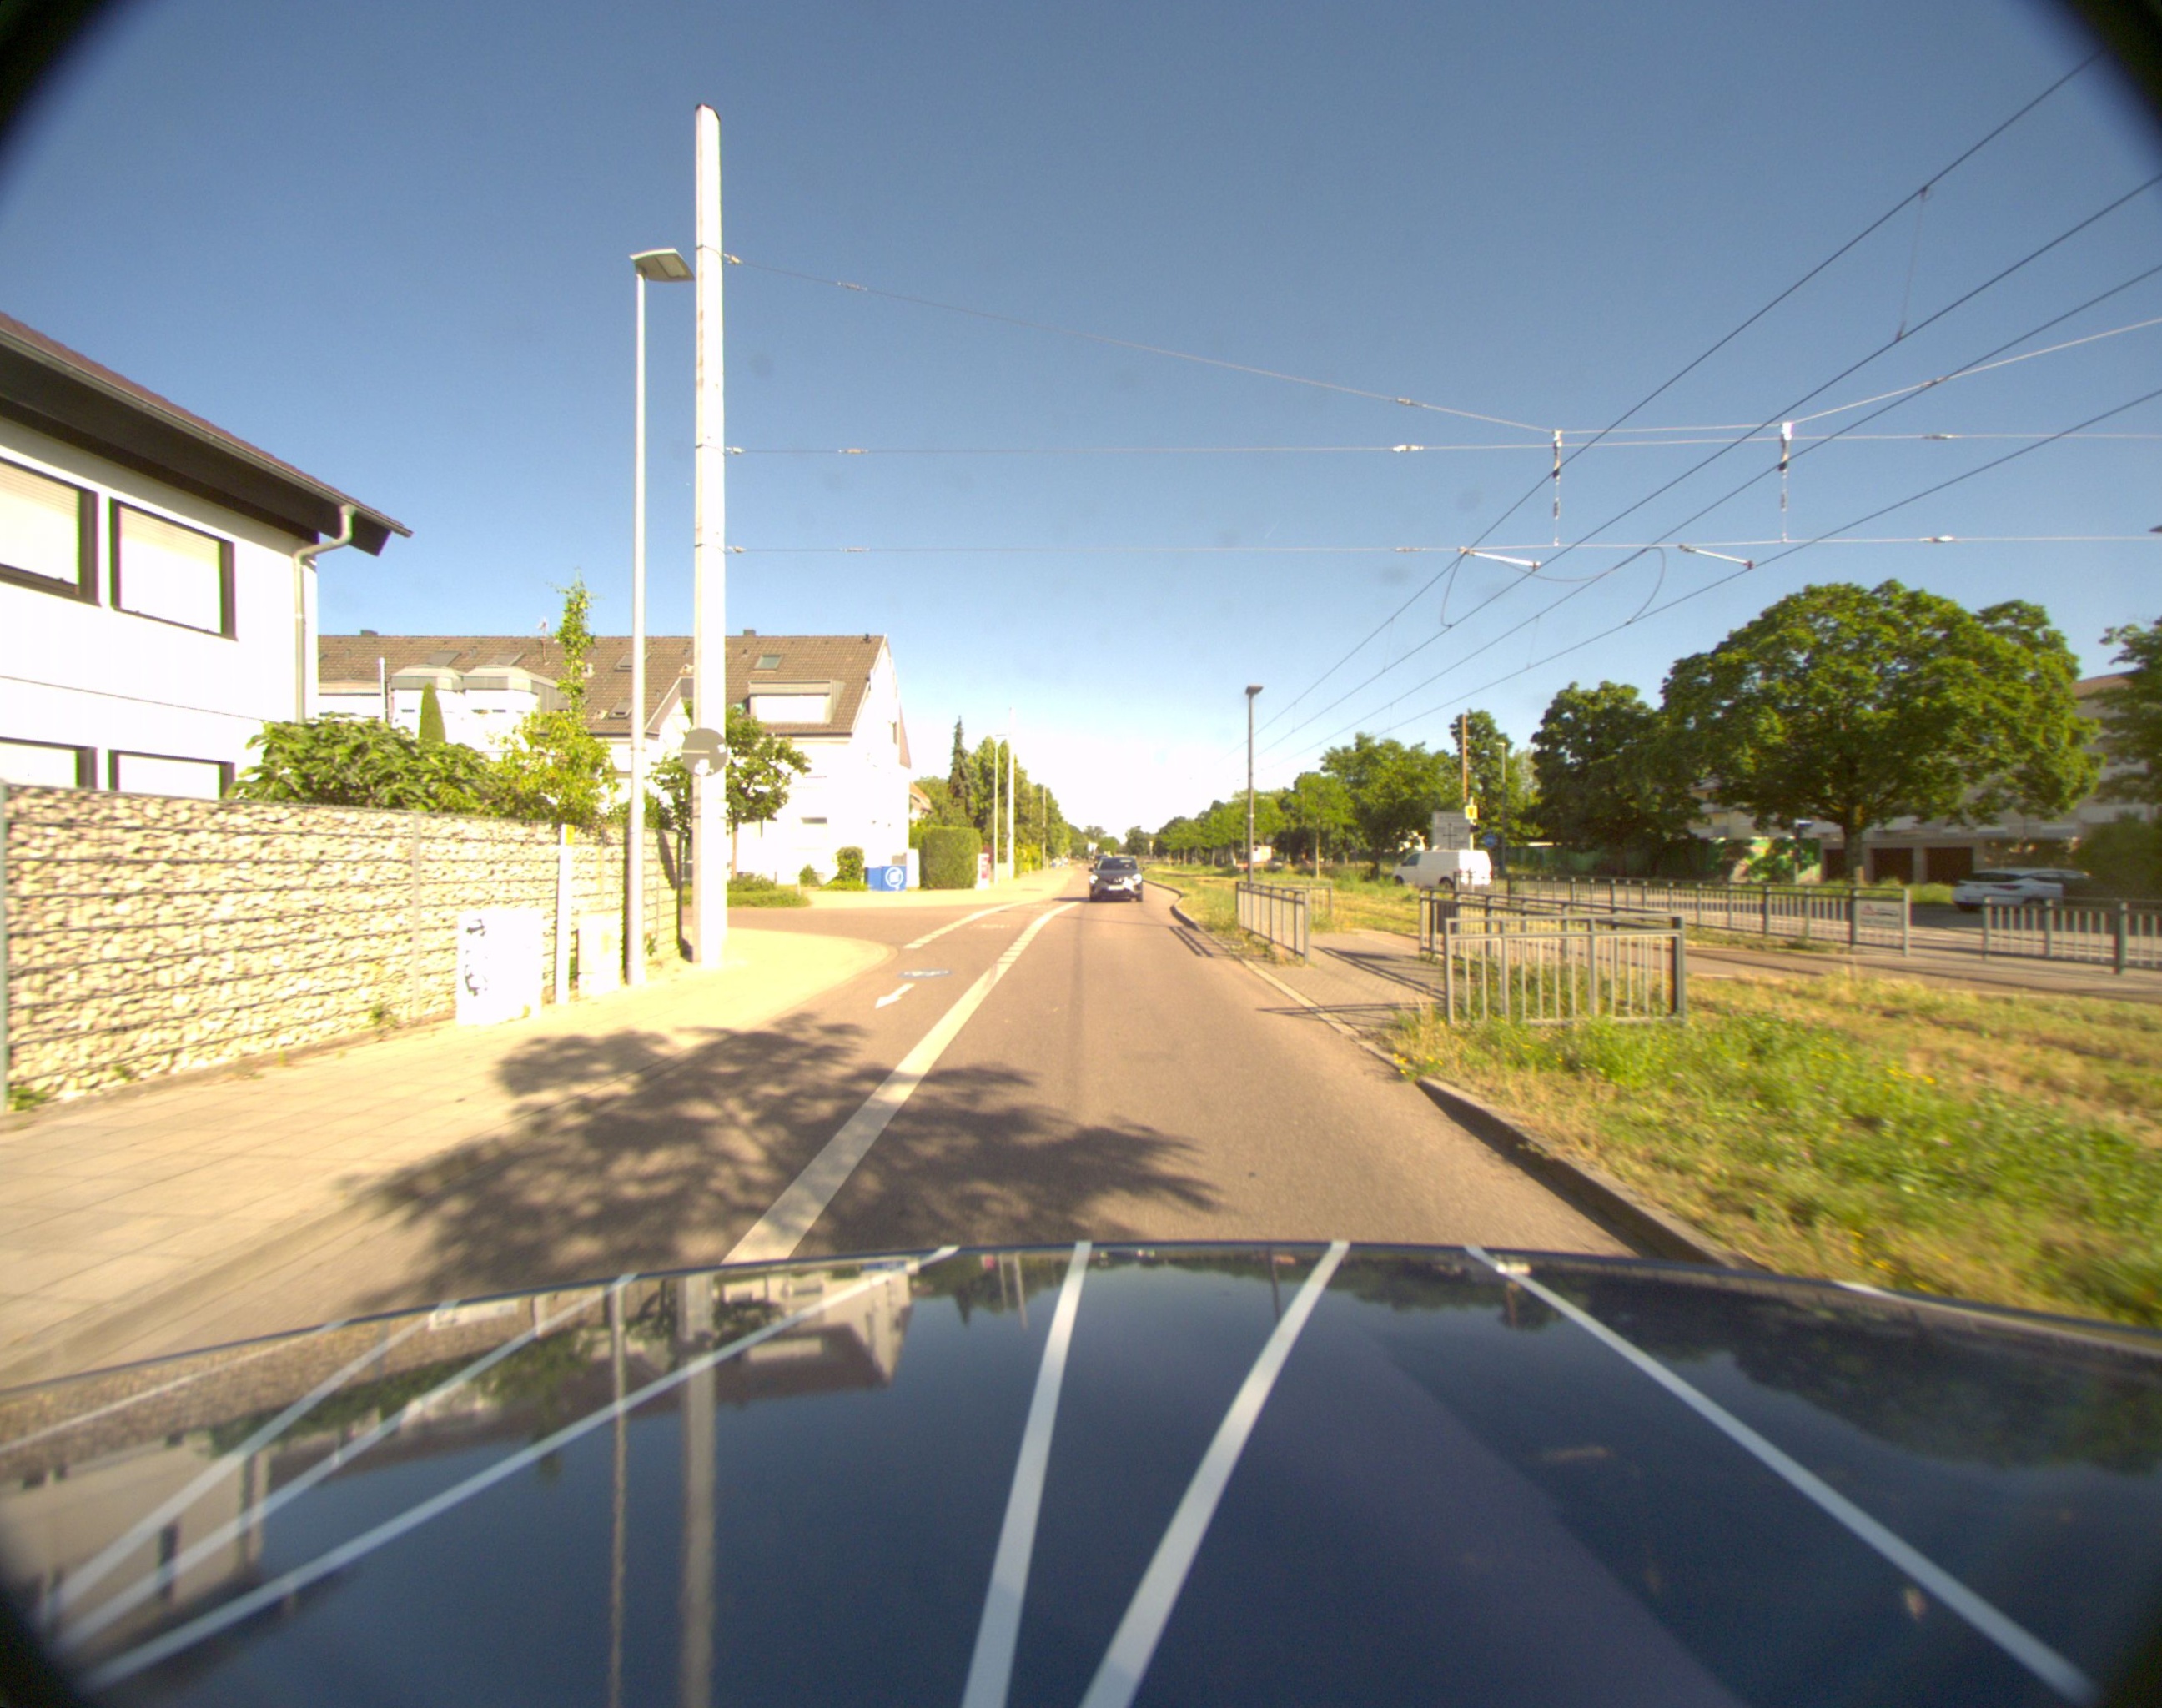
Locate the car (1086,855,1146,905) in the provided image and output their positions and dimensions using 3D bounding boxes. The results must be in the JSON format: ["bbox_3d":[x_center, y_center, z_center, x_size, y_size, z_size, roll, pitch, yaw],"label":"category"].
[{"bbox_3d":[1.168,0.844,26.925,1.867,1.614,3.999,-1,0,-1],"label":"car"}]

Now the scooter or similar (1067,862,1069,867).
[{"bbox_3d":[-2.598,2.155,154.570,0.349,1.130,1.208,0,0,-1],"label":"scooter or similar"}]

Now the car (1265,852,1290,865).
[{"bbox_3d":[31.376,0.728,121.272,1.893,1.899,4.821,-1,-1,41],"label":"car"}]

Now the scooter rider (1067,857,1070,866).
[{"bbox_3d":[-2.582,1.460,154.532,0.552,1.756,0.599,-1,0,-1],"label":"scooter rider"}]

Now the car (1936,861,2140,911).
[{"bbox_3d":[29.836,0.972,23.786,3.997,1.396,1.852,0,3,0],"label":"car"}]

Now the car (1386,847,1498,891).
[{"bbox_3d":[16.834,0.656,35.738,1.906,1.903,4.693,0,0,-22],"label":"car"}]

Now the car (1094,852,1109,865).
[{"bbox_3d":[3.014,0.669,111.839,1.998,1.824,4.000,-2,1,2],"label":"car"}]

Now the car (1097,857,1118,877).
[{"bbox_3d":[2.648,1.281,75.888,1.998,1.824,4.000,-2,1,2],"label":"car"}]
